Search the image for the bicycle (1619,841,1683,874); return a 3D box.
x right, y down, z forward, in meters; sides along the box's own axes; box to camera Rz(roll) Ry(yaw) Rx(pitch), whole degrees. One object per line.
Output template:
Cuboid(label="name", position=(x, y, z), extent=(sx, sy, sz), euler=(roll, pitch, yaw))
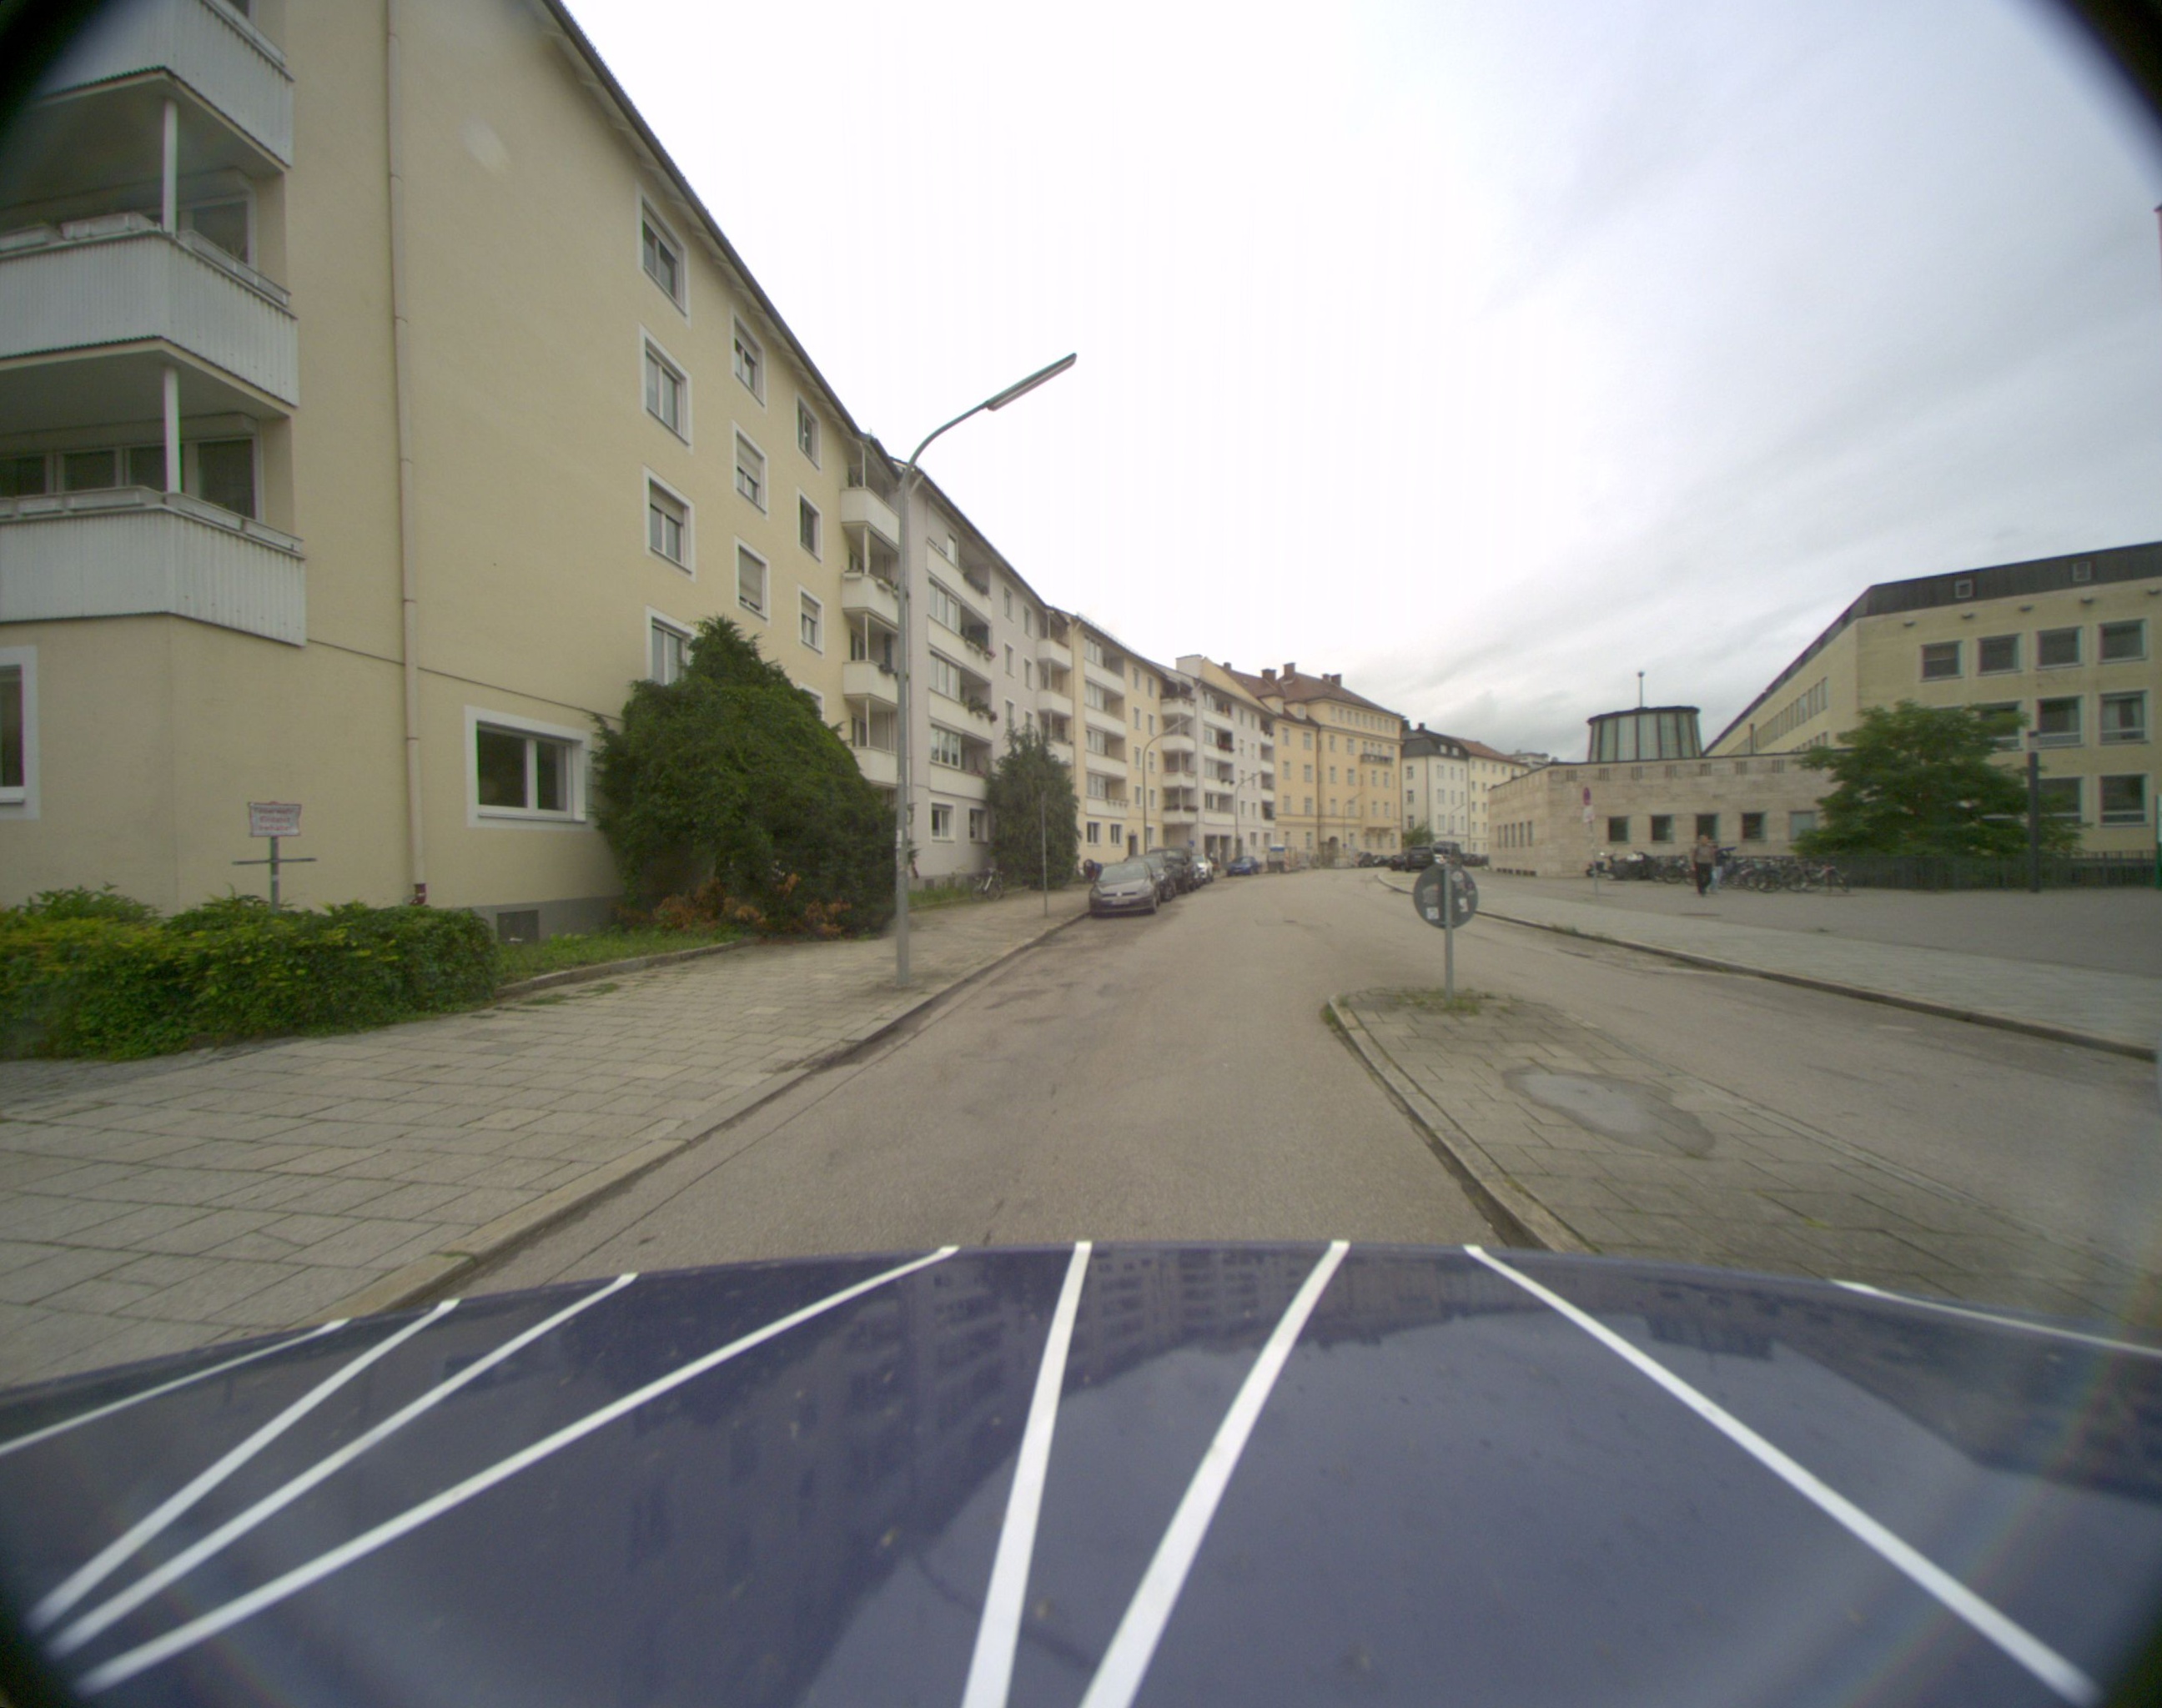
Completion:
Cuboid(label="bicycle", position=(24.866, 0.153, 33.188), extent=(2.101, 1.343, 0.614), euler=(-3, 0, 13))

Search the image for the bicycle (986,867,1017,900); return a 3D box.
Cuboid(label="bicycle", position=(-2.873, 1.060, 27.731), extent=(0.468, 1.111, 1.946), euler=(0, 0, 15))

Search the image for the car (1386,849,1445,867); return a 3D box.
Cuboid(label="car", position=(27.372, 0.315, 62.282), extent=(4.005, 1.366, 1.748), euler=(1, 2, -4))

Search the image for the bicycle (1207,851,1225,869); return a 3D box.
Cuboid(label="bicycle", position=(10.312, 0.421, 57.847), extent=(0.810, 1.315, 2.779), euler=(1, 1, 22))

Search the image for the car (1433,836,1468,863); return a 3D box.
Cuboid(label="car", position=(36.474, -0.467, 74.944), extent=(2.144, 2.559, 6.224), euler=(1, 1, 35))

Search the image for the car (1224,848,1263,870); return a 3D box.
Cuboid(label="car", position=(11.867, 0.334, 55.318), extent=(1.832, 1.433, 4.636), euler=(-4, -1, 24))

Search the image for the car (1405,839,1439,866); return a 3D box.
Cuboid(label="car", position=(24.070, -0.114, 53.729), extent=(1.995, 1.761, 4.822), euler=(-1, 0, 22))

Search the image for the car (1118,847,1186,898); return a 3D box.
Cuboid(label="car", position=(2.596, 0.599, 26.813), extent=(1.661, 1.556, 4.519), euler=(-3, 0, 14))

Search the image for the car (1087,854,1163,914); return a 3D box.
Cuboid(label="car", position=(1.366, 0.781, 21.750), extent=(1.757, 1.388, 4.046), euler=(-3, 1, 8))

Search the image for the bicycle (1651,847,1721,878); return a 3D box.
Cuboid(label="bicycle", position=(23.855, 0.347, 29.985), extent=(2.048, 1.104, 0.617), euler=(-3, -1, 18))

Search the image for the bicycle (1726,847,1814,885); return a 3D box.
Cuboid(label="bicycle", position=(22.075, 0.395, 24.374), extent=(2.049, 1.104, 0.617), euler=(-3, 0, 11))

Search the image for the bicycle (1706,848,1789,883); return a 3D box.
Cuboid(label="bicycle", position=(22.564, 0.394, 25.772), extent=(2.049, 1.104, 0.617), euler=(-3, 0, 11))

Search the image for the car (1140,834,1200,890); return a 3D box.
Cuboid(label="car", position=(3.773, 0.322, 31.591), extent=(1.750, 2.069, 4.521), euler=(-3, -1, 15))

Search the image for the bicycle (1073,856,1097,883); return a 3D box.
Cuboid(label="bicycle", position=(0.233, 0.809, 40.408), extent=(0.743, 1.360, 2.473), euler=(2, 1, 11))

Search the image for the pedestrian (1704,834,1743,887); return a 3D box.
Cuboid(label="pedestrian", position=(20.011, 0.210, 23.673), extent=(0.644, 1.591, 0.606), euler=(-3, 0, -11))

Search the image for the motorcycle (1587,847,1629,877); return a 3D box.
Cuboid(label="motorcycle", position=(25.944, 0.397, 37.455), extent=(1.566, 1.397, 0.515), euler=(-3, 0, 16))

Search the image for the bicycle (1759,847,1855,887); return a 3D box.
Cuboid(label="bicycle", position=(21.787, 0.393, 22.834), extent=(2.049, 1.104, 0.617), euler=(-3, 0, 11))

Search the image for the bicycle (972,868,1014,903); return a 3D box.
Cuboid(label="bicycle", position=(-2.974, 1.054, 25.862), extent=(0.467, 1.111, 1.947), euler=(0, 1, 26))

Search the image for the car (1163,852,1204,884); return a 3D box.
Cuboid(label="car", position=(4.927, 0.639, 36.278), extent=(1.661, 1.341, 3.807), euler=(-3, 1, 11))

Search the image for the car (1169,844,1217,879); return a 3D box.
Cuboid(label="car", position=(6.156, 0.399, 41.219), extent=(2.029, 1.668, 4.618), euler=(-3, -1, 14))

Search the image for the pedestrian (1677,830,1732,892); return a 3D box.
Cuboid(label="pedestrian", position=(18.441, 0.194, 22.493), extent=(0.788, 1.772, 1.015), euler=(-3, 1, 3))

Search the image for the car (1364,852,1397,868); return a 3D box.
Cuboid(label="car", position=(34.104, 0.662, 86.481), extent=(3.737, 1.719, 1.838), euler=(-2, -1, -42))

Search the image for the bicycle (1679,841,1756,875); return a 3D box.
Cuboid(label="bicycle", position=(22.683, 0.149, 27.111), extent=(2.049, 1.104, 0.617), euler=(-3, 0, 7))

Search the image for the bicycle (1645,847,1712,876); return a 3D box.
Cuboid(label="bicycle", position=(24.725, 0.307, 31.466), extent=(2.048, 1.104, 0.617), euler=(-3, 0, 13))

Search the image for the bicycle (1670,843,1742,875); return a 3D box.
Cuboid(label="bicycle", position=(23.641, 0.203, 28.746), extent=(2.049, 1.104, 0.617), euler=(-3, 0, 7))
